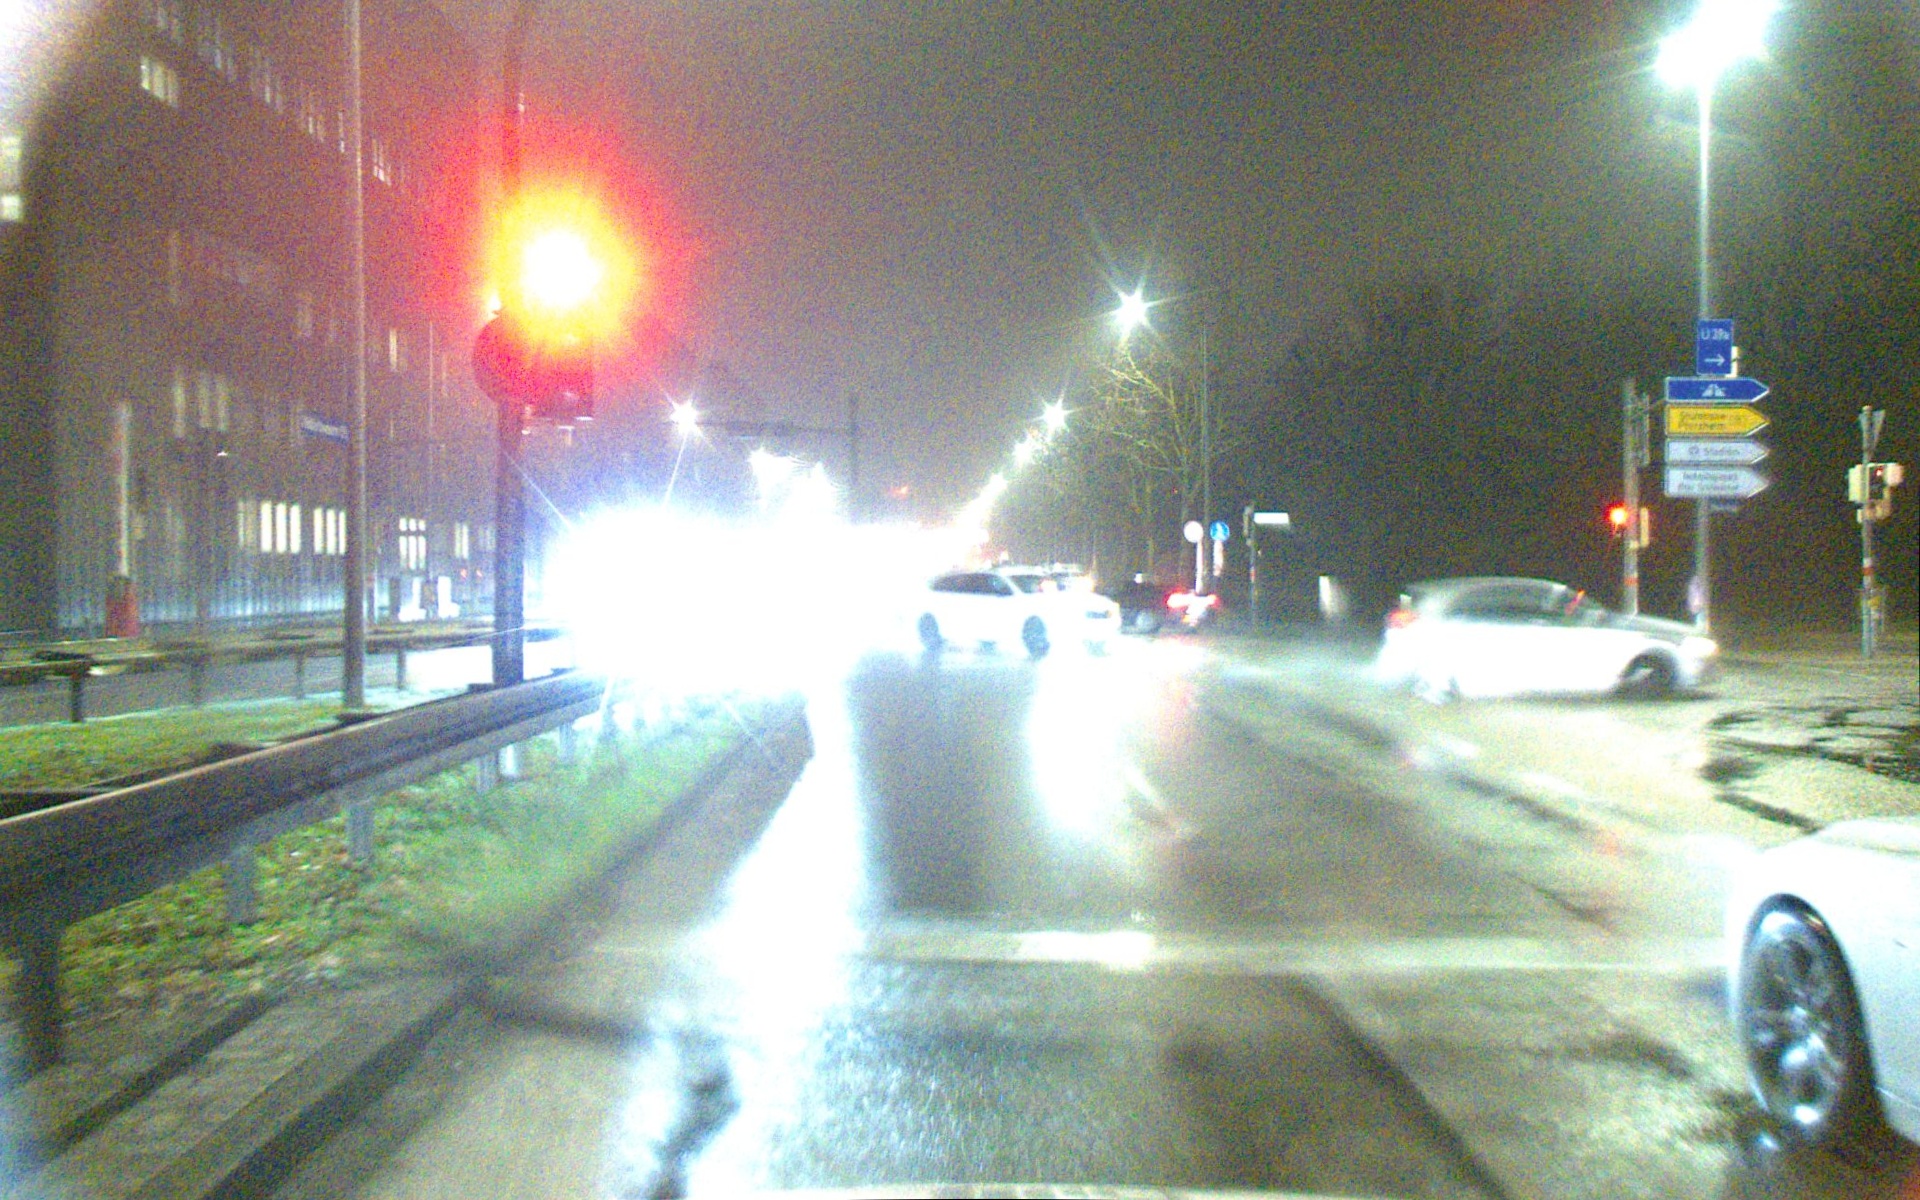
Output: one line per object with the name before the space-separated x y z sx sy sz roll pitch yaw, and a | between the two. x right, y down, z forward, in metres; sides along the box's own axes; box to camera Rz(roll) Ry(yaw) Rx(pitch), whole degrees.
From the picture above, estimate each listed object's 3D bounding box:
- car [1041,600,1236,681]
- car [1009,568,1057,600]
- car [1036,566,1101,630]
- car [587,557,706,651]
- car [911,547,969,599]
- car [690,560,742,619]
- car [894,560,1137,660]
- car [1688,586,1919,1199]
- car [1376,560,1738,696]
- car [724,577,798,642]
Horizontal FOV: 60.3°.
car | 4.230 0.920 39.139 4.205 1.816 2.045 0 0 22
car | 3.705 -0.783 84.778 2.050 1.572 4.304 0 0 -3
car | 3.614 -0.054 55.579 1.996 2.049 4.307 0 0 1
car | -6.348 0.084 33.173 1.693 1.764 3.740 0 0 -21
car | -0.956 -1.148 74.114 2.392 2.232 5.076 0 0 -3
car | -8.669 -0.365 58.916 1.666 2.049 3.563 0 0 -6
car | 0.956 0.167 30.328 4.387 1.700 1.828 0 0 44
car | 3.170 0.692 2.957 1.685 1.472 4.381 -2 0 -2
car | 7.695 0.335 21.747 4.320 1.678 1.838 0 0 14
car | -5.292 0.245 44.330 1.865 1.646 4.508 0 0 -6
